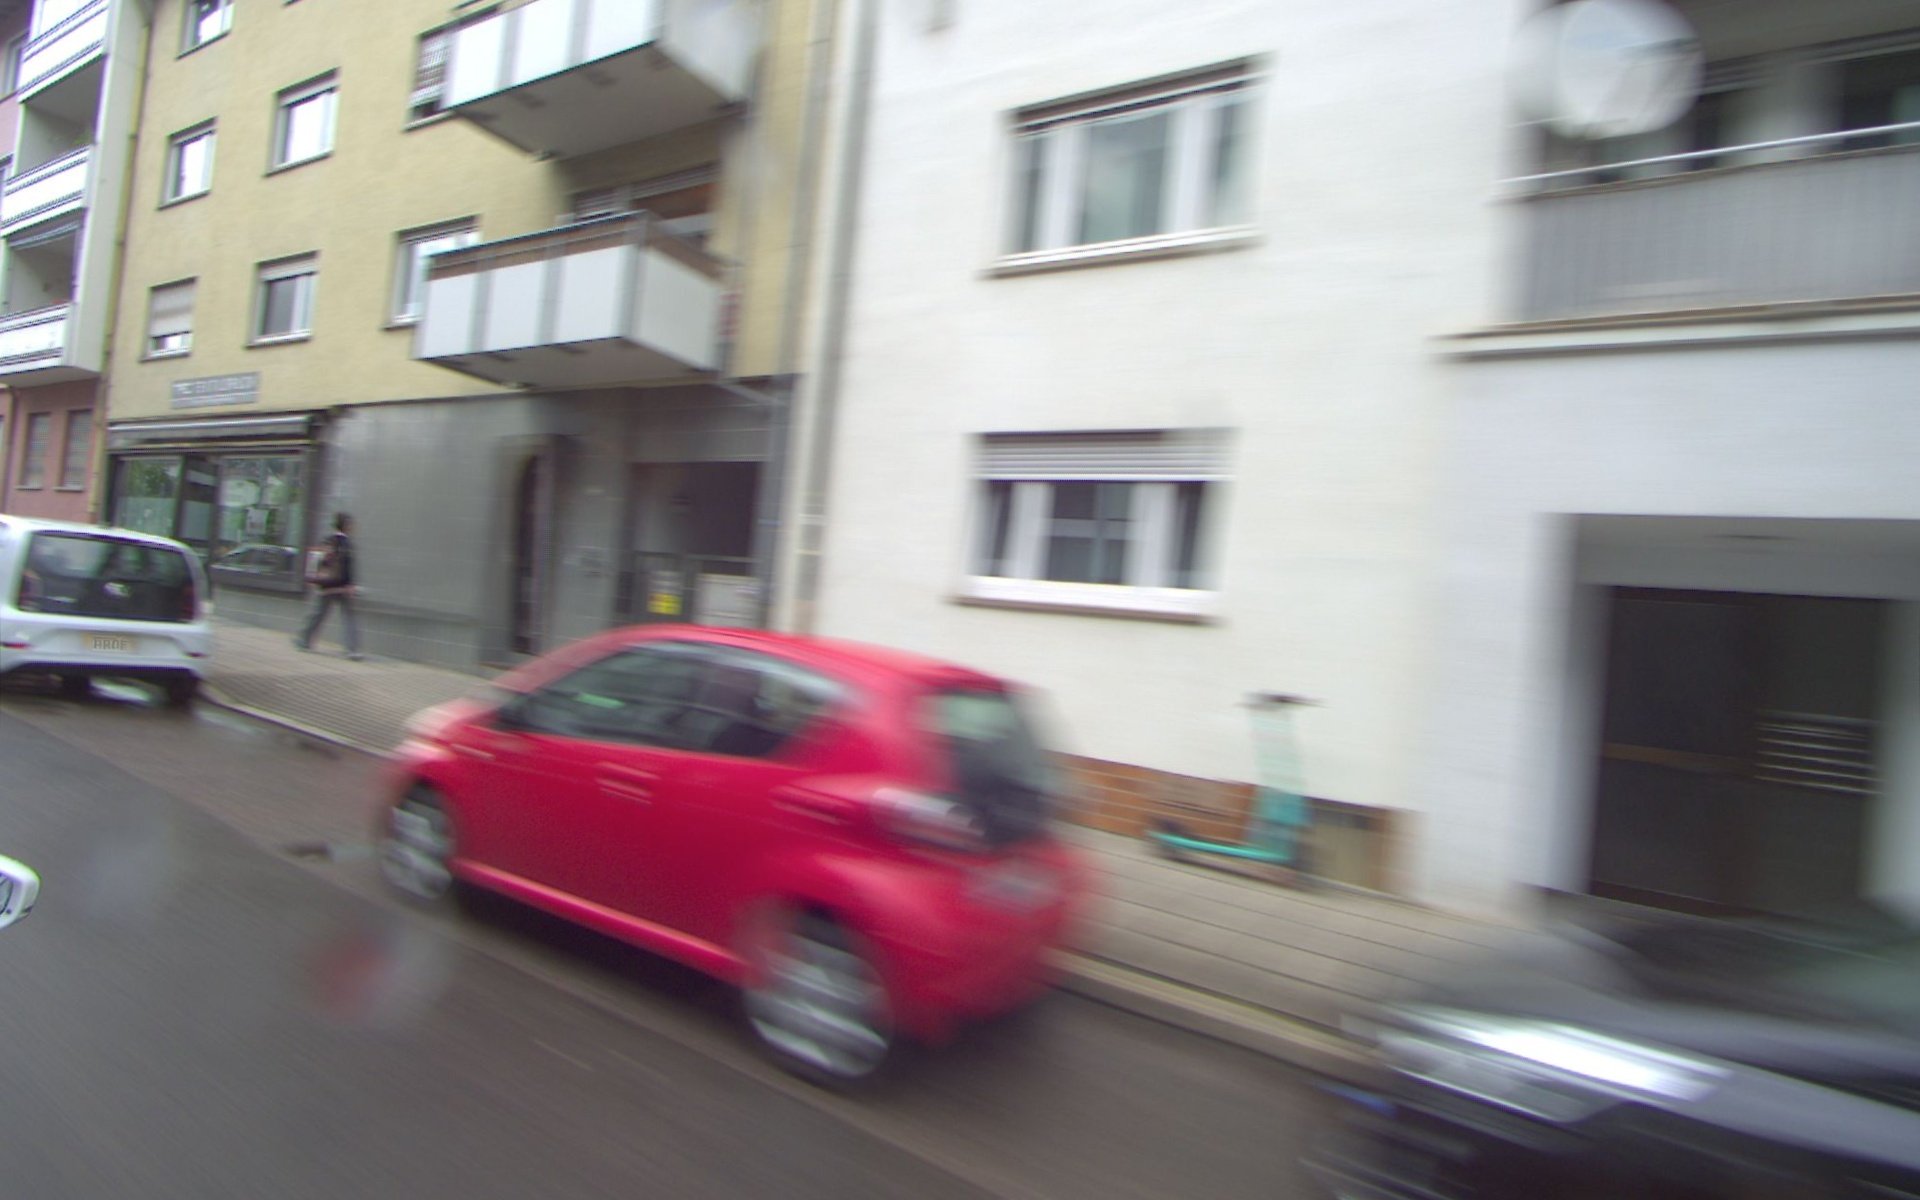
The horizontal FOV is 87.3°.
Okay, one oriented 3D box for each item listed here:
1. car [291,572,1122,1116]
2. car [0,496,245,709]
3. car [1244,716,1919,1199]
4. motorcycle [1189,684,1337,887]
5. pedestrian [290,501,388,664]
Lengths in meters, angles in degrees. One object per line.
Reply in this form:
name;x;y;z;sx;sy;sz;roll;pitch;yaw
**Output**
car;-1.289;0.817;4.722;3.593;1.429;1.586;6;-3;32
car;-8.528;-0.056;9.333;3.649;1.588;1.639;6;-3;32
car;2.807;1.273;2.082;3.919;1.470;1.711;6;-3;32
motorcycle;1.983;1.190;6.603;0.768;1.178;0.253;5;-3;35
pedestrian;-7.623;-0.204;12.351;0.530;1.891;0.640;6;-3;33
